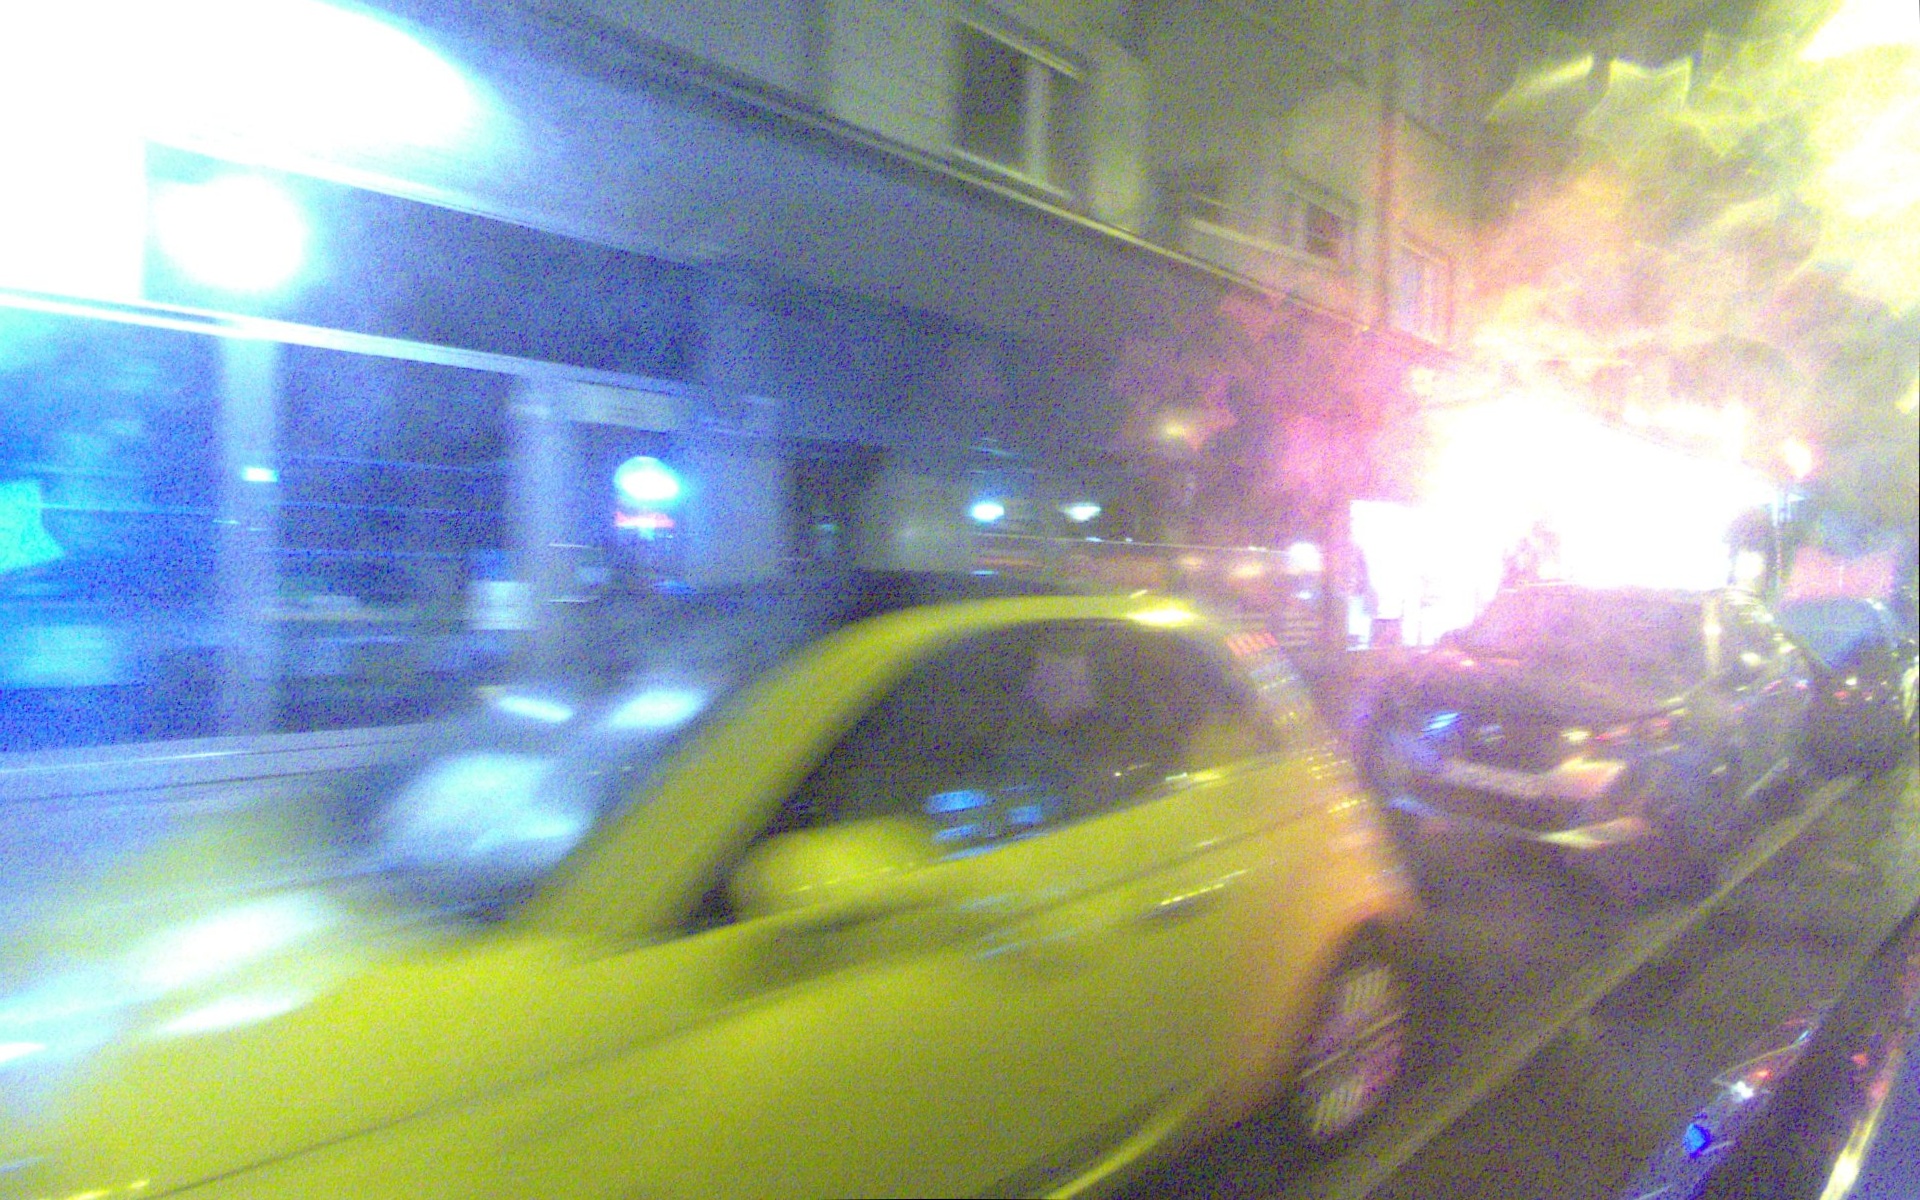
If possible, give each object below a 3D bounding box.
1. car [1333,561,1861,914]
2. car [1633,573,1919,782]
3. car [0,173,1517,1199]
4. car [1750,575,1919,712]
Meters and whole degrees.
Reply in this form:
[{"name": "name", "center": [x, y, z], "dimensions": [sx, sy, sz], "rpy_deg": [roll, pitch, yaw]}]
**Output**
[{"name": "car", "center": [4.250, 0.580, 6.471], "dimensions": [4.089, 1.525, 1.689], "rpy_deg": [0, 3, -41]}, {"name": "car", "center": [8.222, 0.560, 9.733], "dimensions": [4.089, 1.525, 1.845], "rpy_deg": [0, 3, -41]}, {"name": "car", "center": [-0.386, 0.464, 2.349], "dimensions": [3.789, 1.743, 1.676], "rpy_deg": [0, 3, -41]}, {"name": "car", "center": [12.301, 0.489, 13.597], "dimensions": [4.089, 1.525, 1.845], "rpy_deg": [0, 3, -41]}]
